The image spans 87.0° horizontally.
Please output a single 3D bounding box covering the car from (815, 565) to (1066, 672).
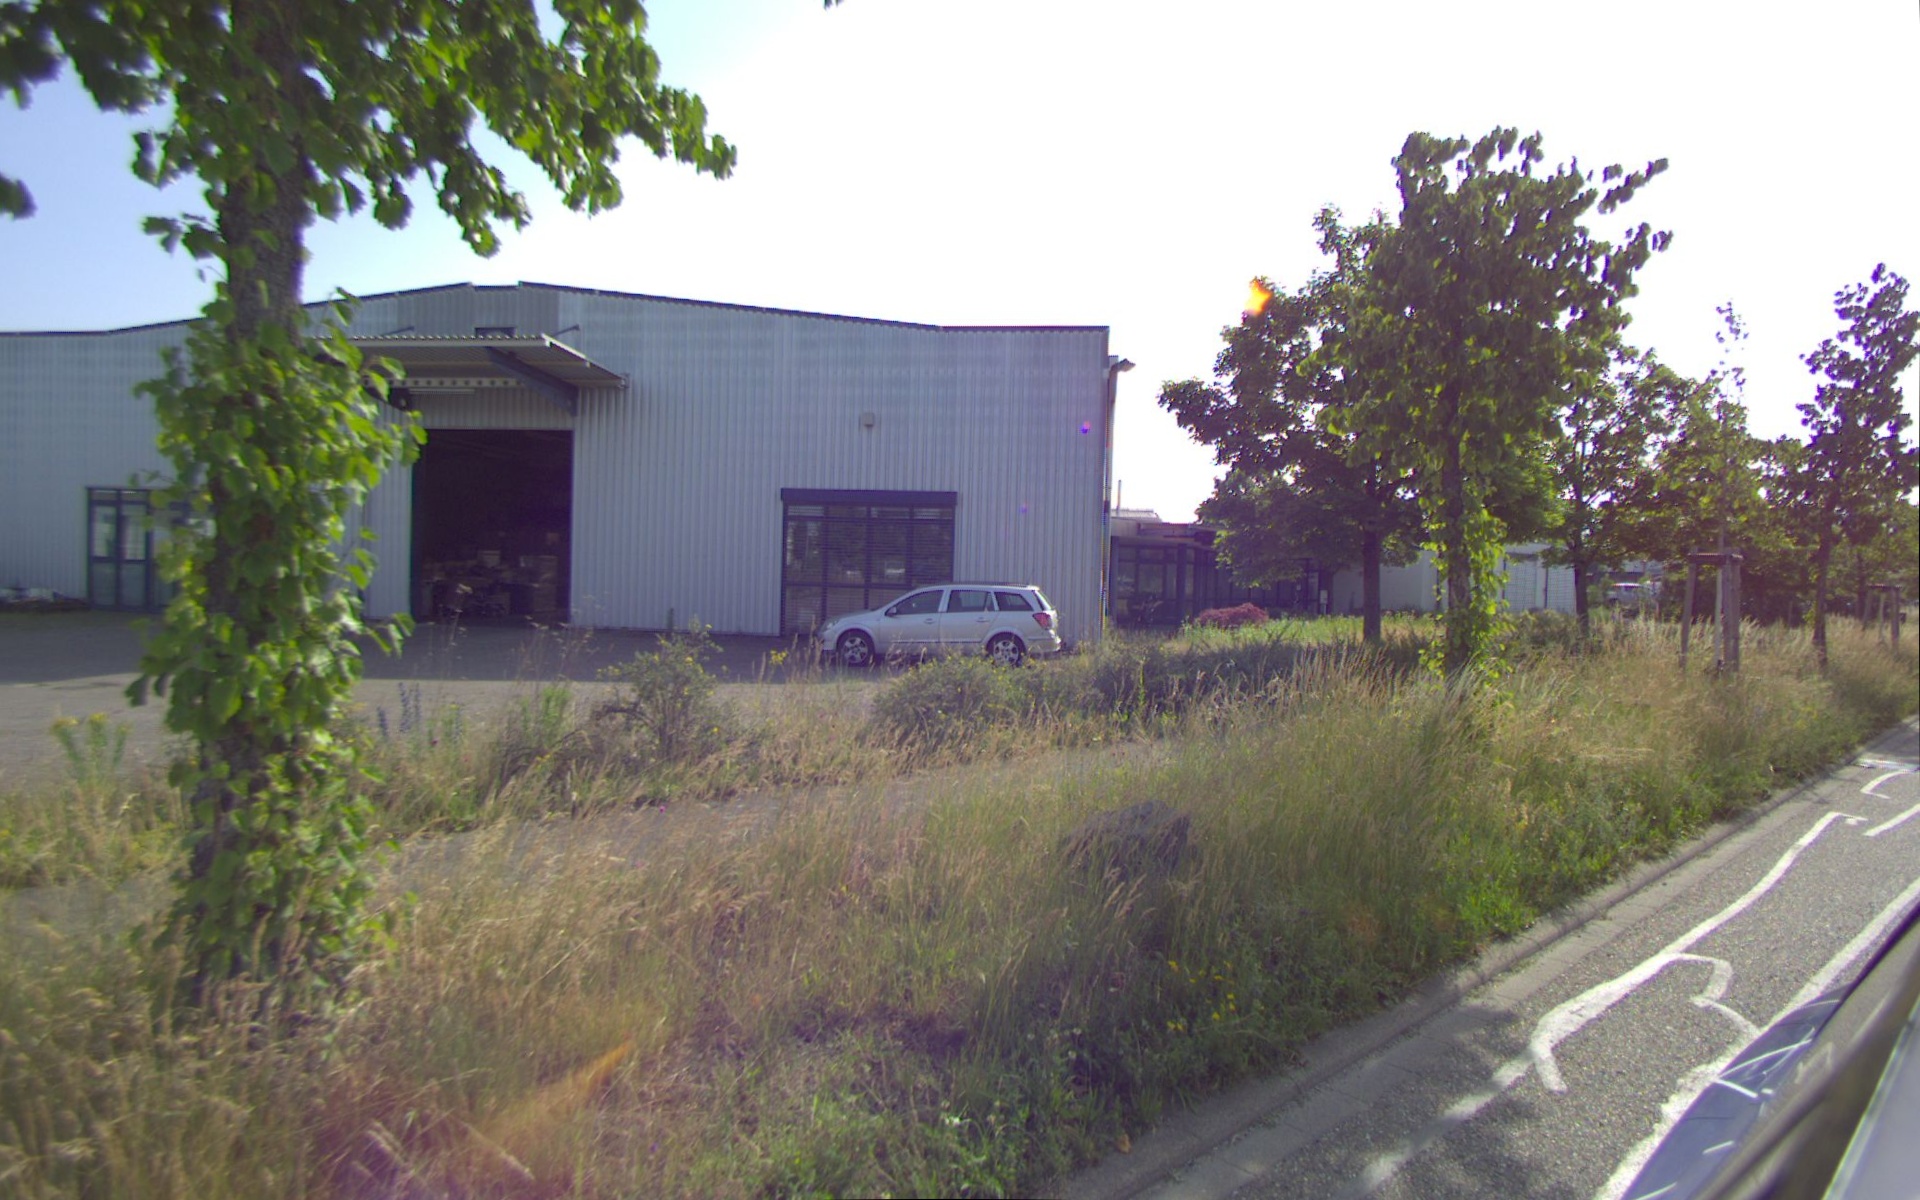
[{"bbox_3d":[-0.291,0.281,18.214,4.283,1.581,1.758,2,4,6],"label":"car"}]

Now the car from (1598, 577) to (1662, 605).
[{"bbox_3d":[41.416,-0.547,62.558,3.679,1.703,1.603,0,0,-26],"label":"car"}]

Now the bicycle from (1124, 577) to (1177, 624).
[{"bbox_3d":[6.236,0.012,33.036,0.803,1.489,2.250,0,0,36],"label":"bicycle"}]
